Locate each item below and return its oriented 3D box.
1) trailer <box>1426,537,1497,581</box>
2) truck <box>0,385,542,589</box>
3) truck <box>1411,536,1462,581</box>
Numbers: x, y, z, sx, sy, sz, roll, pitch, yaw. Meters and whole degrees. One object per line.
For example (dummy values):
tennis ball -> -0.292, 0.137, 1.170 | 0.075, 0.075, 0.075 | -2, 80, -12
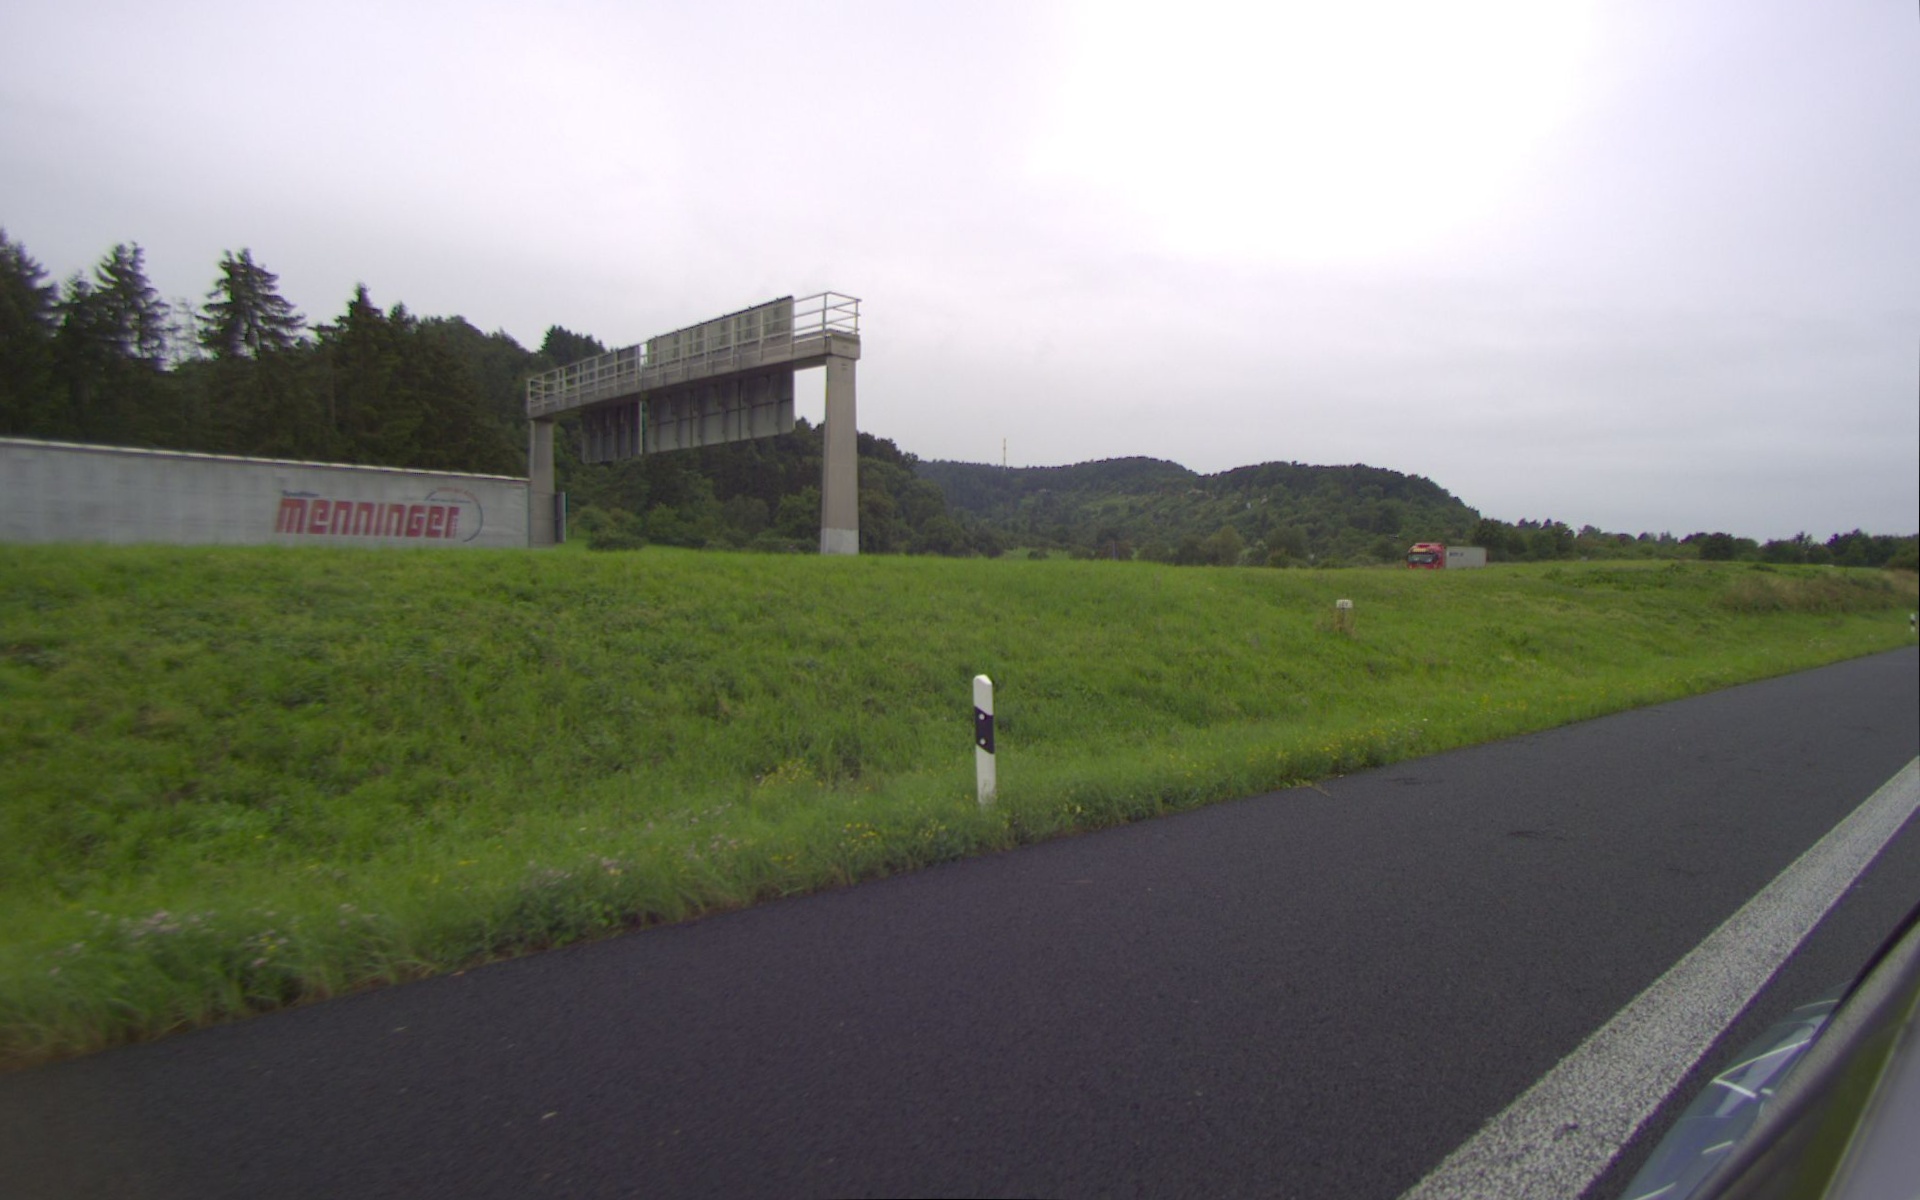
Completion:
trailer -> 49.244, -3.883, 99.084 | 2.491, 4.034, 12.205 | -1, 0, 45
truck -> -20.207, -2.621, 27.137 | 3.820, 4.597, 16.624 | 1, 1, 43
truck -> 44.338, -3.800, 94.135 | 2.508, 4.037, 5.833 | -1, 0, 44
